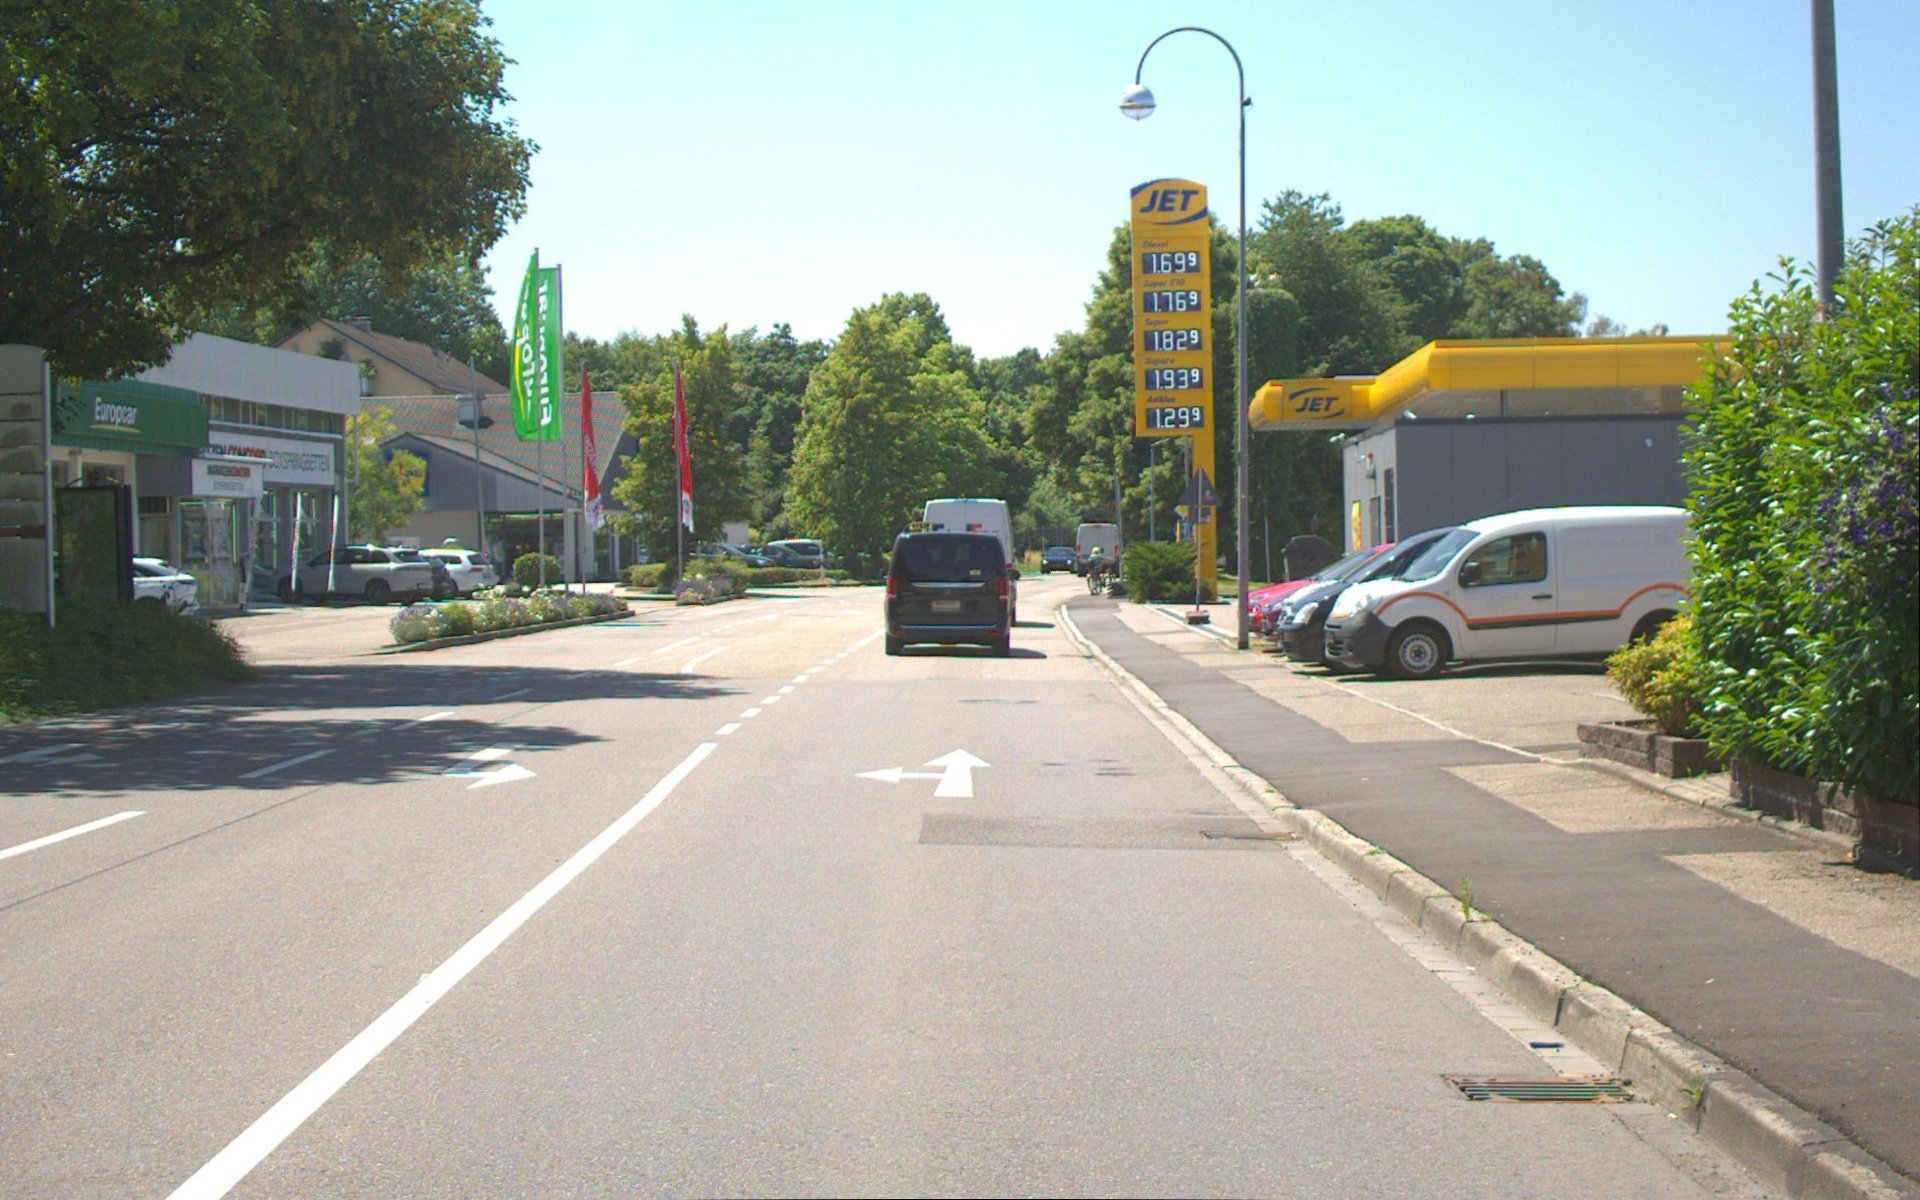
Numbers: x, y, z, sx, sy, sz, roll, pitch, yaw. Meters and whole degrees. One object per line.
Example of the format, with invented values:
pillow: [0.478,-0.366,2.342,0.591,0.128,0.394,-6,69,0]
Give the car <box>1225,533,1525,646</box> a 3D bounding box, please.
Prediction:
car: [6.164,-0.176,51.413,4.224,1.529,1.958,-2,1,0]

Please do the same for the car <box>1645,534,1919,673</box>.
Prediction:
car: [10.028,0.040,39.942,3.605,1.463,1.949,2,1,-4]

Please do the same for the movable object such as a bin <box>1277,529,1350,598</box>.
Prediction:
movable object such as a bin: [7.674,-0.803,74.699,1.434,1.433,1.468,-2,1,2]

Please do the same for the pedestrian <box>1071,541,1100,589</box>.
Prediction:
pedestrian: [3.740,-1.039,102.380,0.769,1.416,0.867,0,1,9]

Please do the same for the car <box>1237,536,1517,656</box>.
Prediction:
car: [5.905,-0.073,48.950,3.684,1.561,1.709,-2,1,-2]

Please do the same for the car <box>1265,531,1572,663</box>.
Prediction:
car: [5.880,-0.051,44.374,3.684,1.561,1.642,-2,1,-1]

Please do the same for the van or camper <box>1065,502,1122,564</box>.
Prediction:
van or camper: [6.409,-3.209,165.754,2.632,2.919,5.206,1,1,1]

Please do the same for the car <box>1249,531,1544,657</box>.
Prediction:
car: [5.884,-0.096,46.642,3.684,1.561,1.750,-2,1,-3]

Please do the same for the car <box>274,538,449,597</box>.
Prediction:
car: [-17.061,-0.940,98.071,4.535,1.658,1.998,0,1,20]

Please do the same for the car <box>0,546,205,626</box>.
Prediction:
car: [-16.380,-0.270,63.861,4.339,1.434,1.940,-1,1,-21]

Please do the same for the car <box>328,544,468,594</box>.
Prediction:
car: [-16.829,-0.938,103.056,3.629,1.469,1.998,0,1,20]

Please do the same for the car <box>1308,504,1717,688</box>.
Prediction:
car: [6.057,-0.070,37.927,4.133,1.931,1.808,-1,1,-5]

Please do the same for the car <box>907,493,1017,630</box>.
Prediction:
car: [0.083,-0.808,71.080,2.078,2.693,4.666,1,1,2]

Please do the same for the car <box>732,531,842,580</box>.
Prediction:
car: [-7.144,-1.834,141.913,4.357,1.973,1.905,0,0,3]

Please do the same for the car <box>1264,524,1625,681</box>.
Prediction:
car: [5.600,0.007,40.029,3.875,1.675,1.764,-2,1,-2]

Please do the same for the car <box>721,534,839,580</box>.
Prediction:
car: [-7.262,-1.746,139.198,4.387,1.839,2.102,0,0,11]

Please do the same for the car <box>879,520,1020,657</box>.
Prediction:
car: [-0.179,-0.206,52.473,1.993,1.946,5.005,1,1,-1]

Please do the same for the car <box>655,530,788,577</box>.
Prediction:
car: [-9.124,-1.774,131.768,4.709,1.756,2.097,0,0,10]

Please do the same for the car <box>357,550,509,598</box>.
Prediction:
car: [-16.205,-0.810,105.837,4.187,1.441,1.978,0,1,17]
